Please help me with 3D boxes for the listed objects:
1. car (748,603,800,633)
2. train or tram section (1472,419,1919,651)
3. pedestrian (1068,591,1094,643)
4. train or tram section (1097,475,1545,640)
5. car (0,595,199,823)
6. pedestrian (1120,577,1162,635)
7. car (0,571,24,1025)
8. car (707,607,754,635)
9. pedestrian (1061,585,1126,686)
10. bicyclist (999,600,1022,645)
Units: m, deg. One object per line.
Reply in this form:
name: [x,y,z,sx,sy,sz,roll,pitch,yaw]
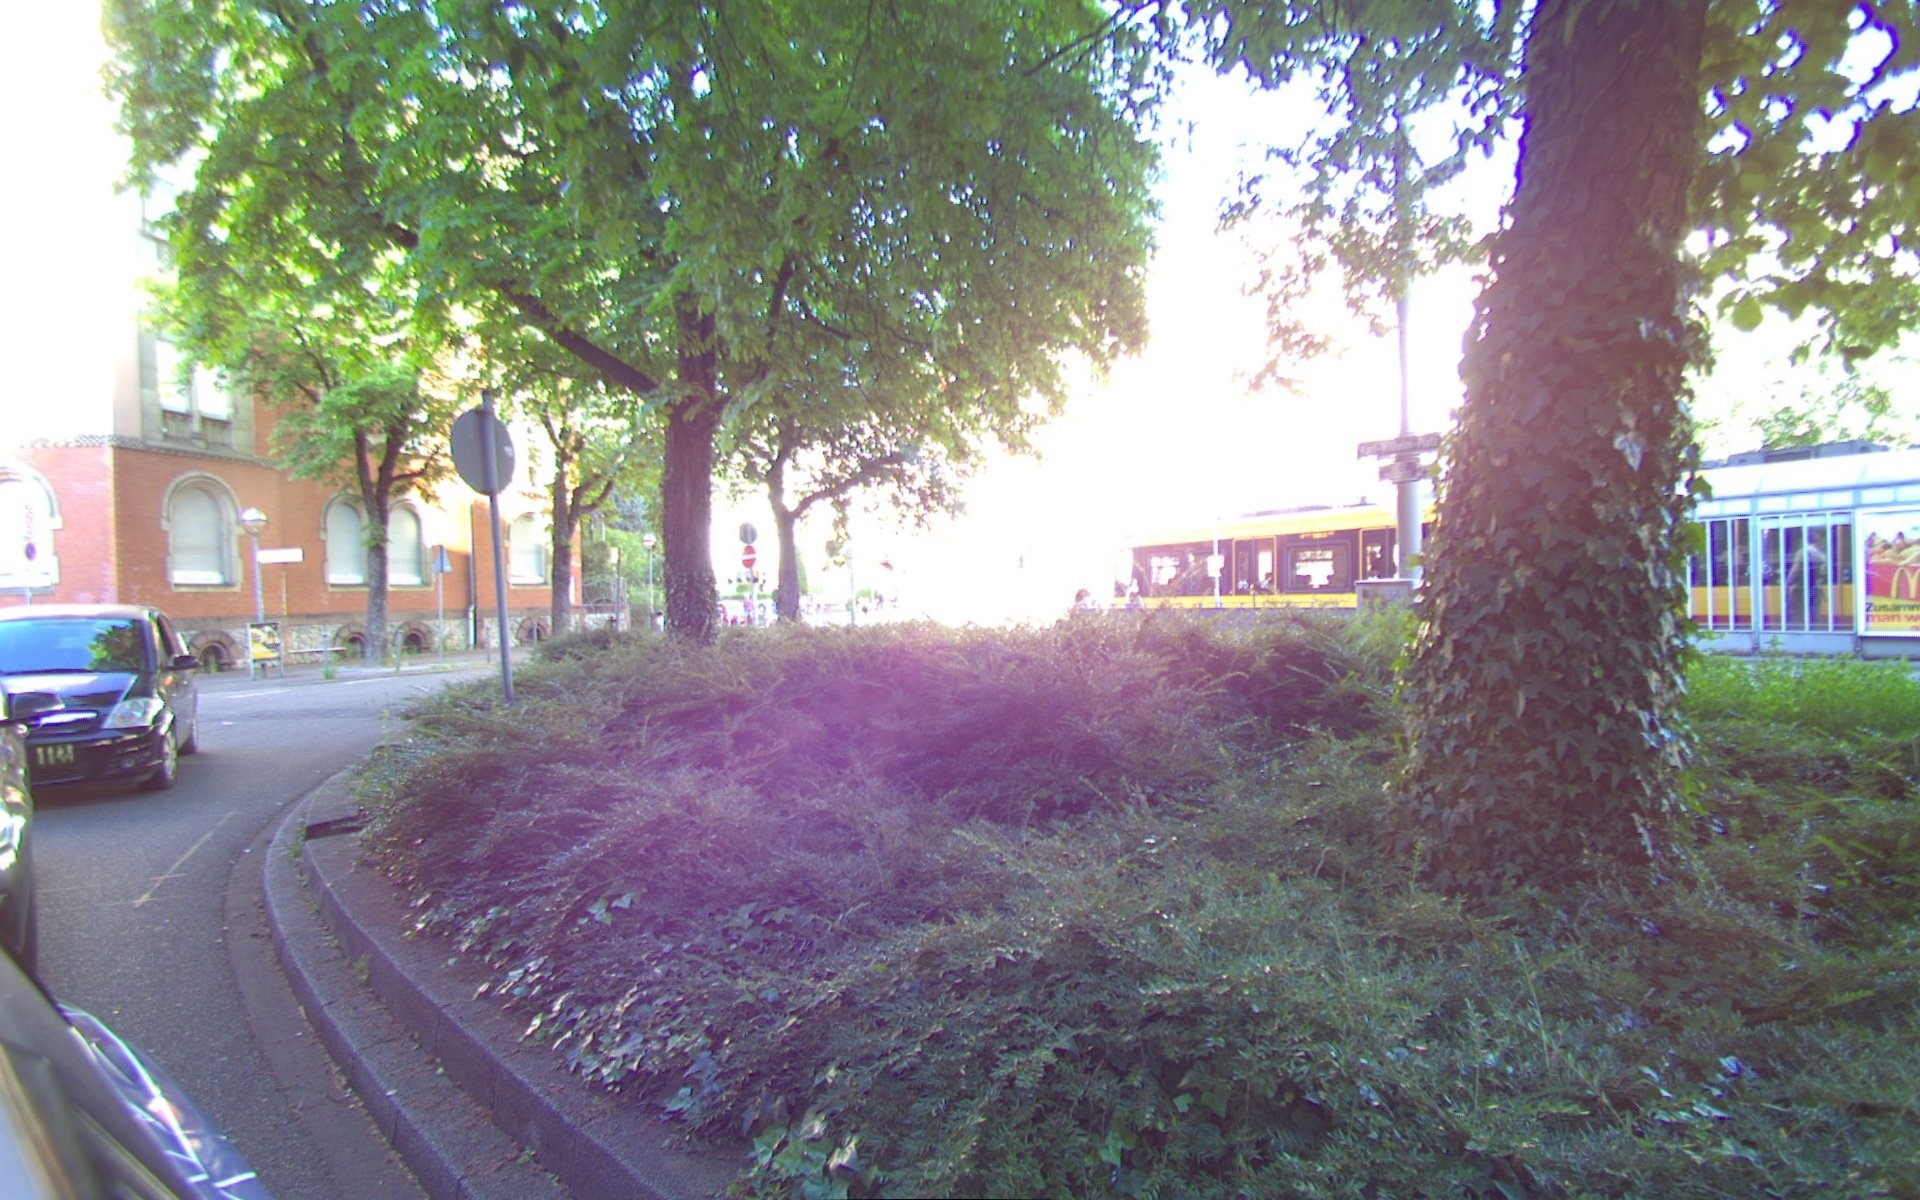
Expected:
car: [-9.850,0.941,53.320,1.707,1.428,4.013,-2,0,-25]
train or tram section: [15.606,-1.045,17.396,2.739,3.614,12.456,-2,0,-32]
pedestrian: [4.045,0.548,33.837,0.716,1.647,0.903,-3,1,5]
train or tram section: [8.981,-0.882,28.116,2.727,3.584,12.718,-2,0,-32]
car: [-7.969,0.836,9.046,1.653,1.640,3.697,-2,0,-34]
pedestrian: [5.350,0.171,29.956,0.714,1.647,0.906,-4,2,-39]
car: [-5.426,0.744,4.531,1.768,1.590,4.264,-1,-1,-43]
car: [-13.775,1.238,60.555,1.707,1.427,4.013,-2,2,-29]
pedestrian: [1.988,0.511,15.112,0.698,1.454,0.602,-2,0,-25]
bicyclist: [1.796,0.799,35.921,0.588,1.585,0.557,-2,0,-30]
